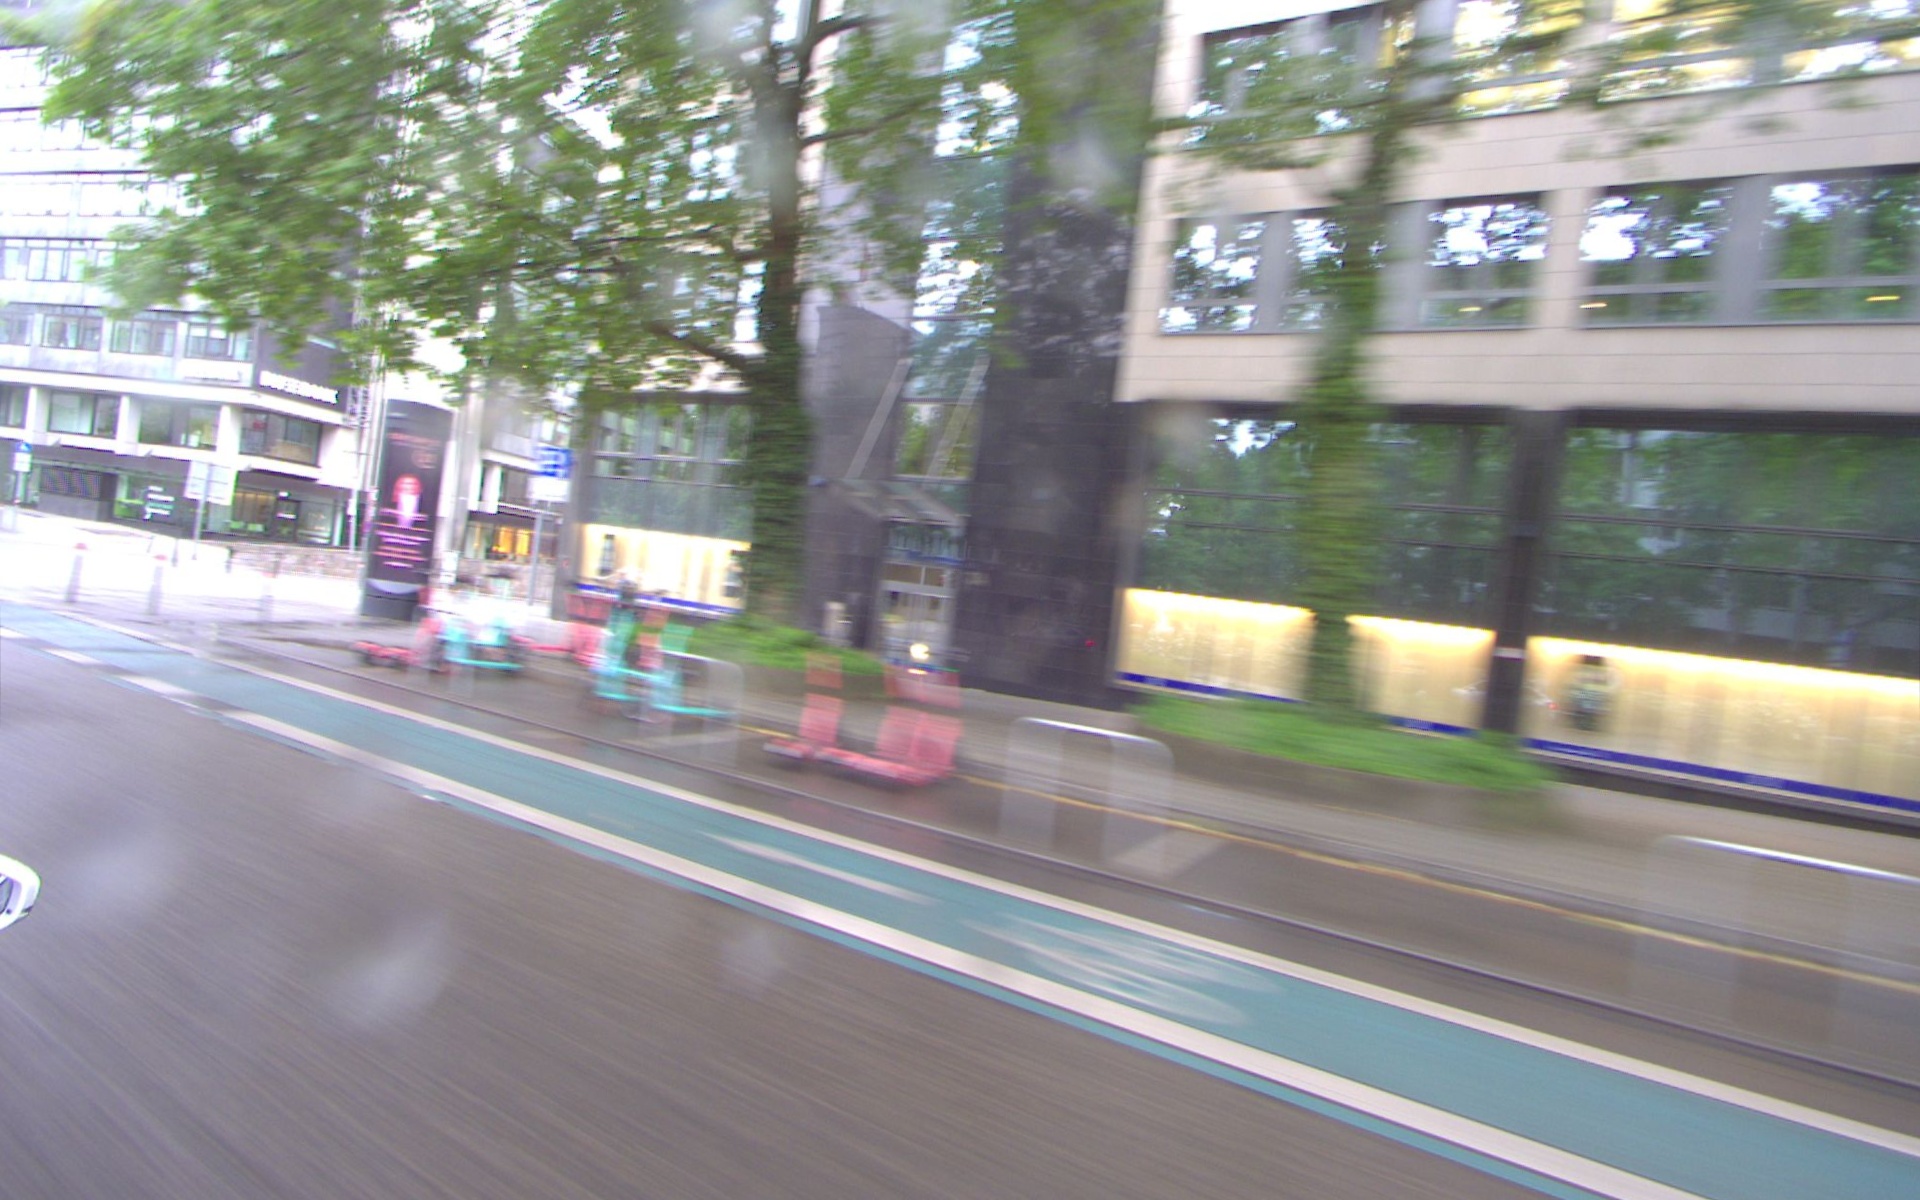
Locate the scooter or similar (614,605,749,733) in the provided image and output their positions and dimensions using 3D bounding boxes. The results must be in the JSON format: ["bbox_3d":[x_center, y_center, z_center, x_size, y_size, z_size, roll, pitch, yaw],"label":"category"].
[{"bbox_3d":[-2.991,0.746,10.897,0.481,1.251,1.290,9,2,33],"label":"scooter or similar"}]

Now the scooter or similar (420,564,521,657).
[{"bbox_3d":[-7.167,0.158,14.739,1.270,1.212,0.489,6,-1,22],"label":"scooter or similar"}]

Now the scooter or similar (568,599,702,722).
[{"bbox_3d":[-3.615,0.684,11.276,0.481,1.251,1.290,9,2,33],"label":"scooter or similar"}]

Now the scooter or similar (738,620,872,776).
[{"bbox_3d":[-1.419,0.882,9.441,0.527,1.294,1.293,8,1,20],"label":"scooter or similar"}]

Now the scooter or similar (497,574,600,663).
[{"bbox_3d":[-6.386,0.296,15.631,1.269,1.212,0.489,7,-1,0],"label":"scooter or similar"}]

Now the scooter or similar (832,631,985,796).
[{"bbox_3d":[-0.430,0.986,8.941,0.528,1.294,1.289,9,2,35],"label":"scooter or similar"}]

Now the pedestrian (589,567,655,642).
[{"bbox_3d":[-9.312,0.131,27.722,1.255,1.871,0.919,6,-1,29],"label":"pedestrian"}]

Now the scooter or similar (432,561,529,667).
[{"bbox_3d":[-6.656,0.189,13.954,1.272,1.276,0.488,9,2,31],"label":"scooter or similar"}]

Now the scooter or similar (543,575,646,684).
[{"bbox_3d":[-4.941,0.390,13.574,1.272,1.276,0.488,9,2,31],"label":"scooter or similar"}]

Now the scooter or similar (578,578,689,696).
[{"bbox_3d":[-4.104,0.455,12.619,1.272,1.276,0.488,9,2,31],"label":"scooter or similar"}]

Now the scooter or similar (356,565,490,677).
[{"bbox_3d":[-6.732,0.282,12.642,0.482,1.276,1.287,9,2,42],"label":"scooter or similar"}]

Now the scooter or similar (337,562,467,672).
[{"bbox_3d":[-7.205,0.238,13.021,0.482,1.276,1.287,9,2,42],"label":"scooter or similar"}]

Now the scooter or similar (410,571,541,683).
[{"bbox_3d":[-6.097,0.364,12.692,0.482,1.276,1.287,9,2,42],"label":"scooter or similar"}]

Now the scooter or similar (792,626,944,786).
[{"bbox_3d":[-0.809,0.947,9.154,0.528,1.294,1.289,9,2,35],"label":"scooter or similar"}]

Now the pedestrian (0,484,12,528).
[{"bbox_3d":[-38.806,-3.823,40.216,1.166,1.716,0.807,7,-1,27],"label":"pedestrian"}]

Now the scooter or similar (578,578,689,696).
[{"bbox_3d":[-4.104,0.455,12.619,1.272,1.276,0.488,9,2,31],"label":"scooter or similar"}]
